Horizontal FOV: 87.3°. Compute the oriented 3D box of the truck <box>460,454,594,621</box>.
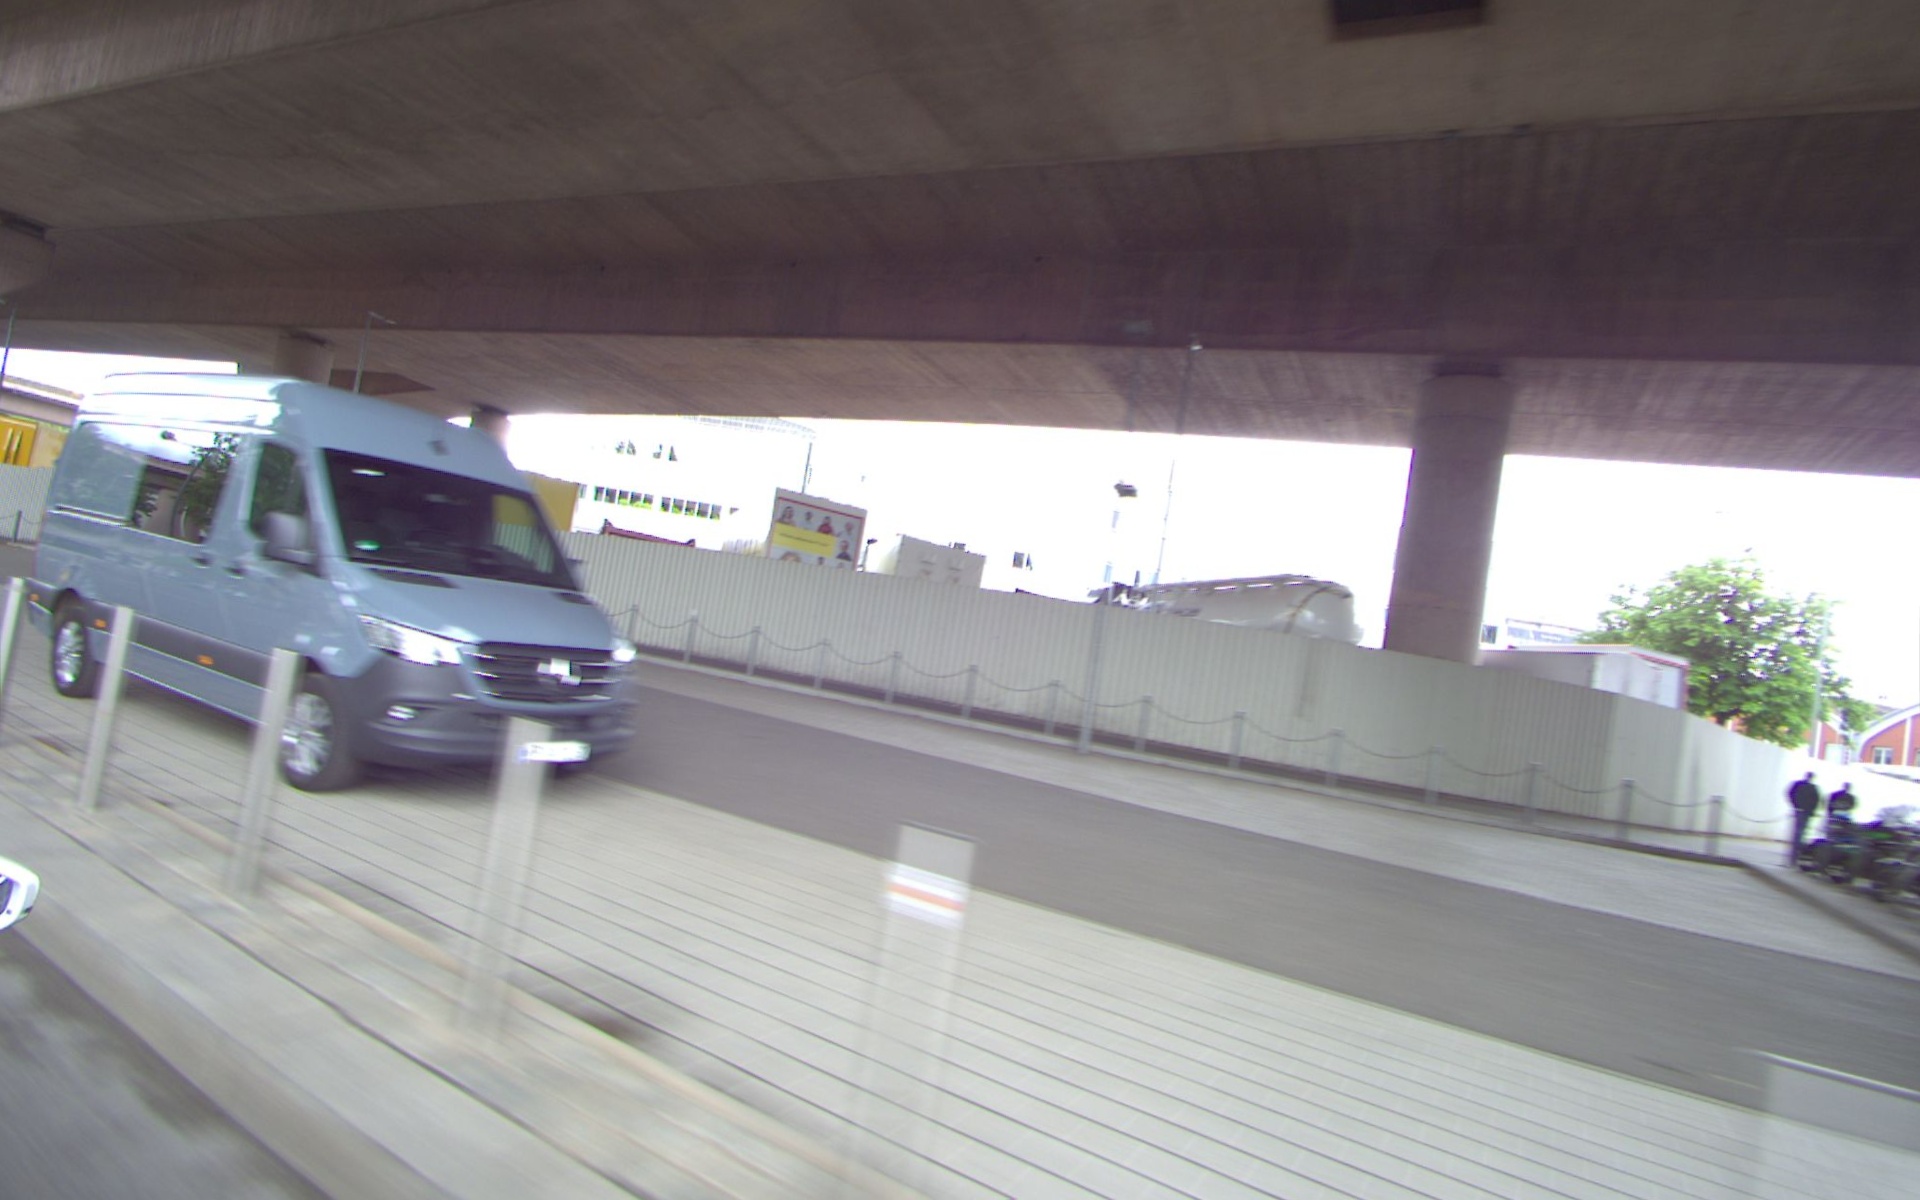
[{"bbox_3d":[-14.685,-1.904,34.541,3.107,4.493,9.680,9,-2,-22],"label":"truck"}]

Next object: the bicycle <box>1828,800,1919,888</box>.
[{"bbox_3d":[15.388,4.074,16.565,2.304,1.117,0.616,13,-1,-24],"label":"bicycle"}]

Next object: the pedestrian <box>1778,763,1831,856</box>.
[{"bbox_3d":[17.966,4.442,21.415,0.497,1.846,0.645,8,-2,20],"label":"pedestrian"}]

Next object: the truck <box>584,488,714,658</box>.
[{"bbox_3d":[-10.198,-0.756,32.162,2.860,4.230,10.023,9,-2,-20],"label":"truck"}]

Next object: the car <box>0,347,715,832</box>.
[{"bbox_3d":[-4.974,-0.274,7.819,5.972,2.642,1.999,7,-2,31],"label":"car"}]

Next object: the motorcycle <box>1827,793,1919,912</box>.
[{"bbox_3d":[12.437,3.303,12.334,2.493,1.249,0.784,9,-1,31],"label":"motorcycle"}]

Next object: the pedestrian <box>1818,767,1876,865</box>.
[{"bbox_3d":[18.168,4.406,20.612,0.497,1.846,0.696,8,-2,19],"label":"pedestrian"}]

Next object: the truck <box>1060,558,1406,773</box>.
[{"bbox_3d":[6.554,1.424,26.792,2.973,4.352,10.253,9,-2,-20],"label":"truck"}]

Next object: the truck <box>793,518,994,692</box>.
[{"bbox_3d":[-2.462,0.094,31.162,2.778,4.205,9.884,9,-2,-22],"label":"truck"}]

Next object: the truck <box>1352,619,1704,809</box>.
[{"bbox_3d":[16.239,3.049,29.819,2.875,4.285,8.724,9,-2,-23],"label":"truck"}]

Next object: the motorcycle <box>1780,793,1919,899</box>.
[{"bbox_3d":[13.801,3.740,14.949,2.288,1.117,0.574,12,0,25],"label":"motorcycle"}]

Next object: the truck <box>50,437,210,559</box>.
[{"bbox_3d":[-42.917,-5.039,52.472,3.107,4.955,8.683,10,-3,-20],"label":"truck"}]

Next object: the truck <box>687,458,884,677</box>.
[{"bbox_3d":[-5.499,-0.816,29.503,3.107,4.979,9.680,9,-2,-22],"label":"truck"}]

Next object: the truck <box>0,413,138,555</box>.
[{"bbox_3d":[-39.575,-4.862,43.376,3.107,4.969,8.683,10,-3,-20],"label":"truck"}]

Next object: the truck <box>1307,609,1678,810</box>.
[{"bbox_3d":[13.986,2.654,27.606,2.875,4.205,8.724,9,-2,-23],"label":"truck"}]

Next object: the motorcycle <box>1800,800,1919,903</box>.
[{"bbox_3d":[13.273,3.602,13.972,2.289,1.118,0.545,9,-2,27],"label":"motorcycle"}]

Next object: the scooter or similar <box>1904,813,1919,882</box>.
[{"bbox_3d":[18.557,4.770,18.802,1.660,1.231,0.541,13,-1,-22],"label":"scooter or similar"}]
